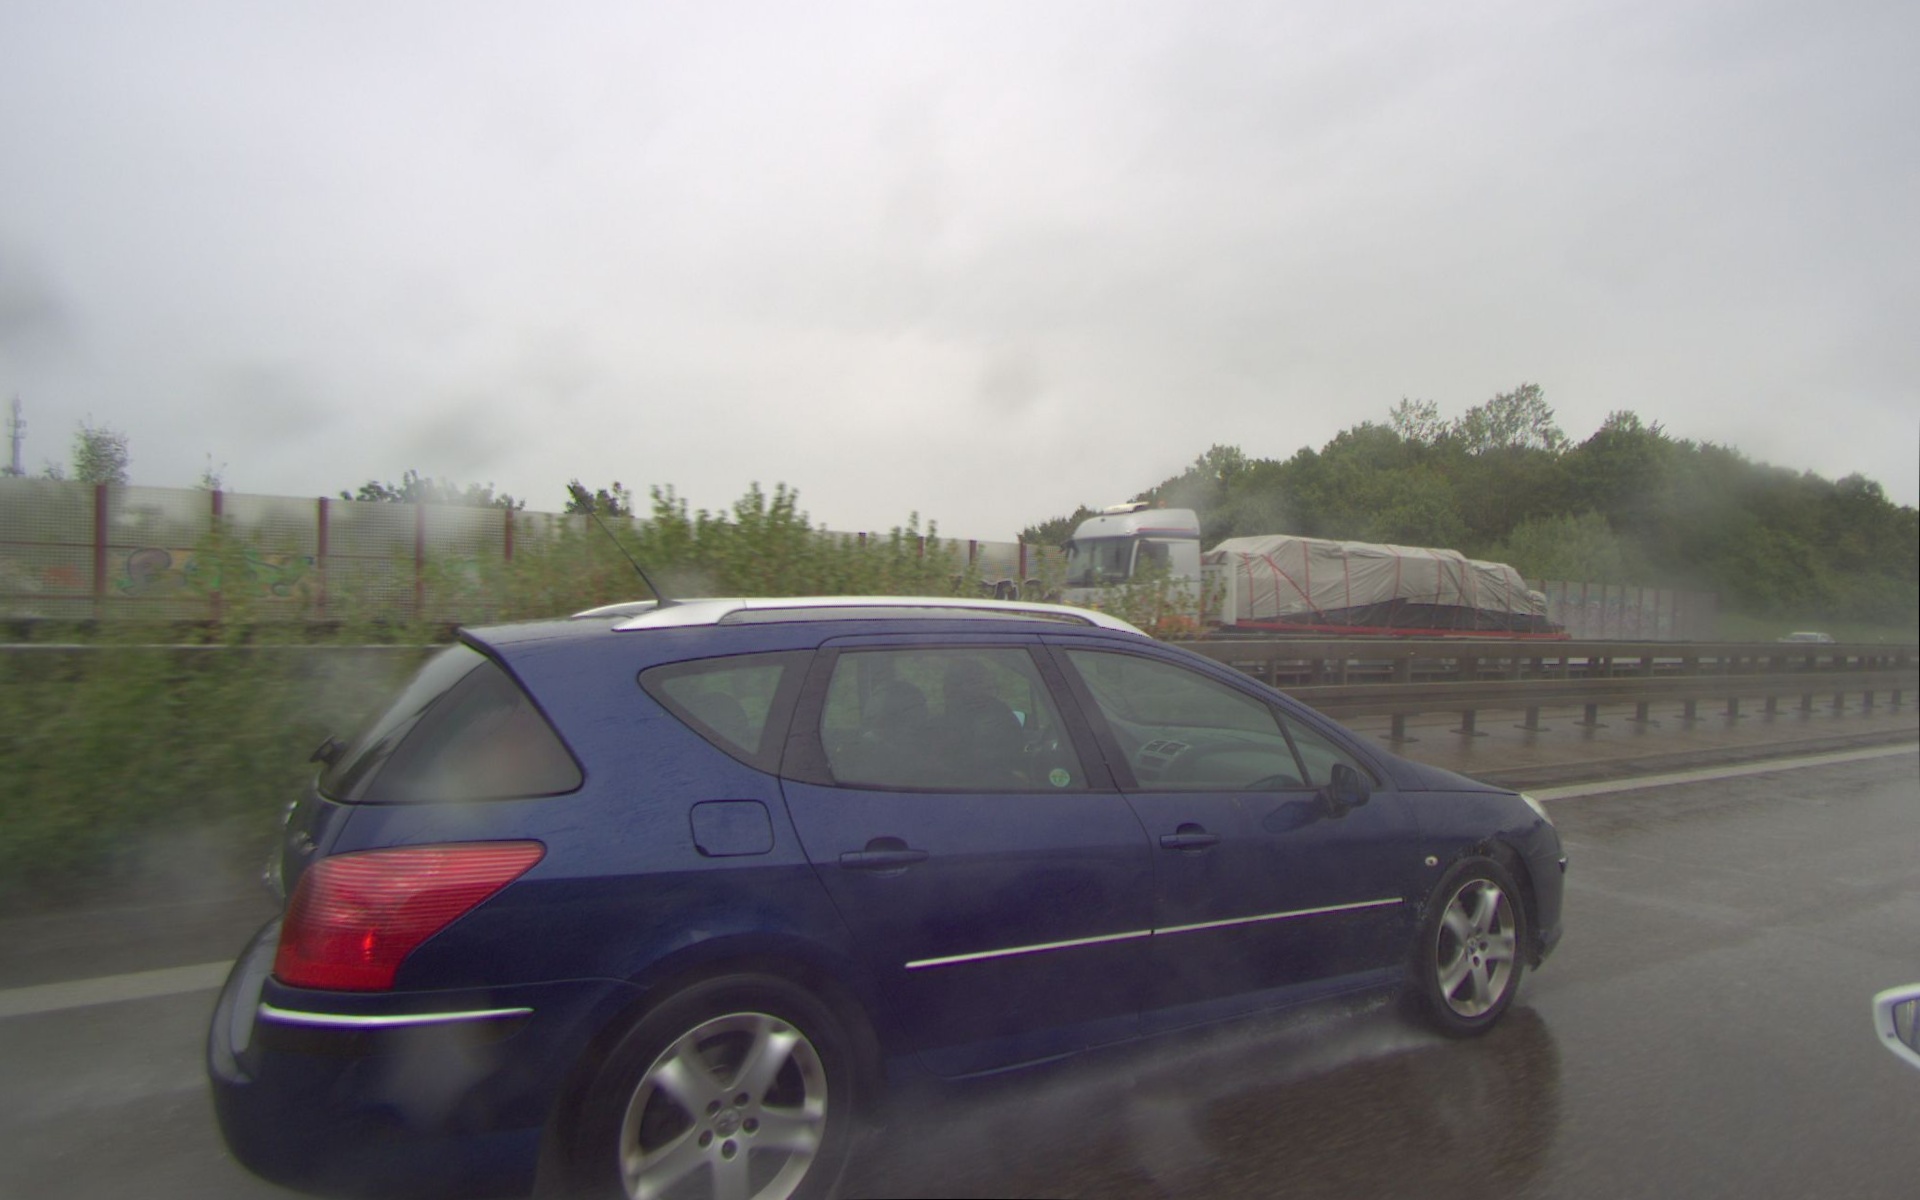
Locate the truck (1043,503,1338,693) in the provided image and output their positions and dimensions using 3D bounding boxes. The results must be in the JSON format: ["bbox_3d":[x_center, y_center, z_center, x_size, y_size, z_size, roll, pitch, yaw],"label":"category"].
[{"bbox_3d":[5.118,0.037,22.129,5.931,3.647,2.967,1,-1,-31],"label":"truck"}]

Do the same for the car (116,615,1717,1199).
[{"bbox_3d":[0.398,0.835,3.737,5.096,1.505,2.045,1,-1,-30],"label":"car"}]

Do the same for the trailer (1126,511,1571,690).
[{"bbox_3d":[10.317,0.125,25.381,13.418,3.660,3.056,1,-1,-32],"label":"trailer"}]
